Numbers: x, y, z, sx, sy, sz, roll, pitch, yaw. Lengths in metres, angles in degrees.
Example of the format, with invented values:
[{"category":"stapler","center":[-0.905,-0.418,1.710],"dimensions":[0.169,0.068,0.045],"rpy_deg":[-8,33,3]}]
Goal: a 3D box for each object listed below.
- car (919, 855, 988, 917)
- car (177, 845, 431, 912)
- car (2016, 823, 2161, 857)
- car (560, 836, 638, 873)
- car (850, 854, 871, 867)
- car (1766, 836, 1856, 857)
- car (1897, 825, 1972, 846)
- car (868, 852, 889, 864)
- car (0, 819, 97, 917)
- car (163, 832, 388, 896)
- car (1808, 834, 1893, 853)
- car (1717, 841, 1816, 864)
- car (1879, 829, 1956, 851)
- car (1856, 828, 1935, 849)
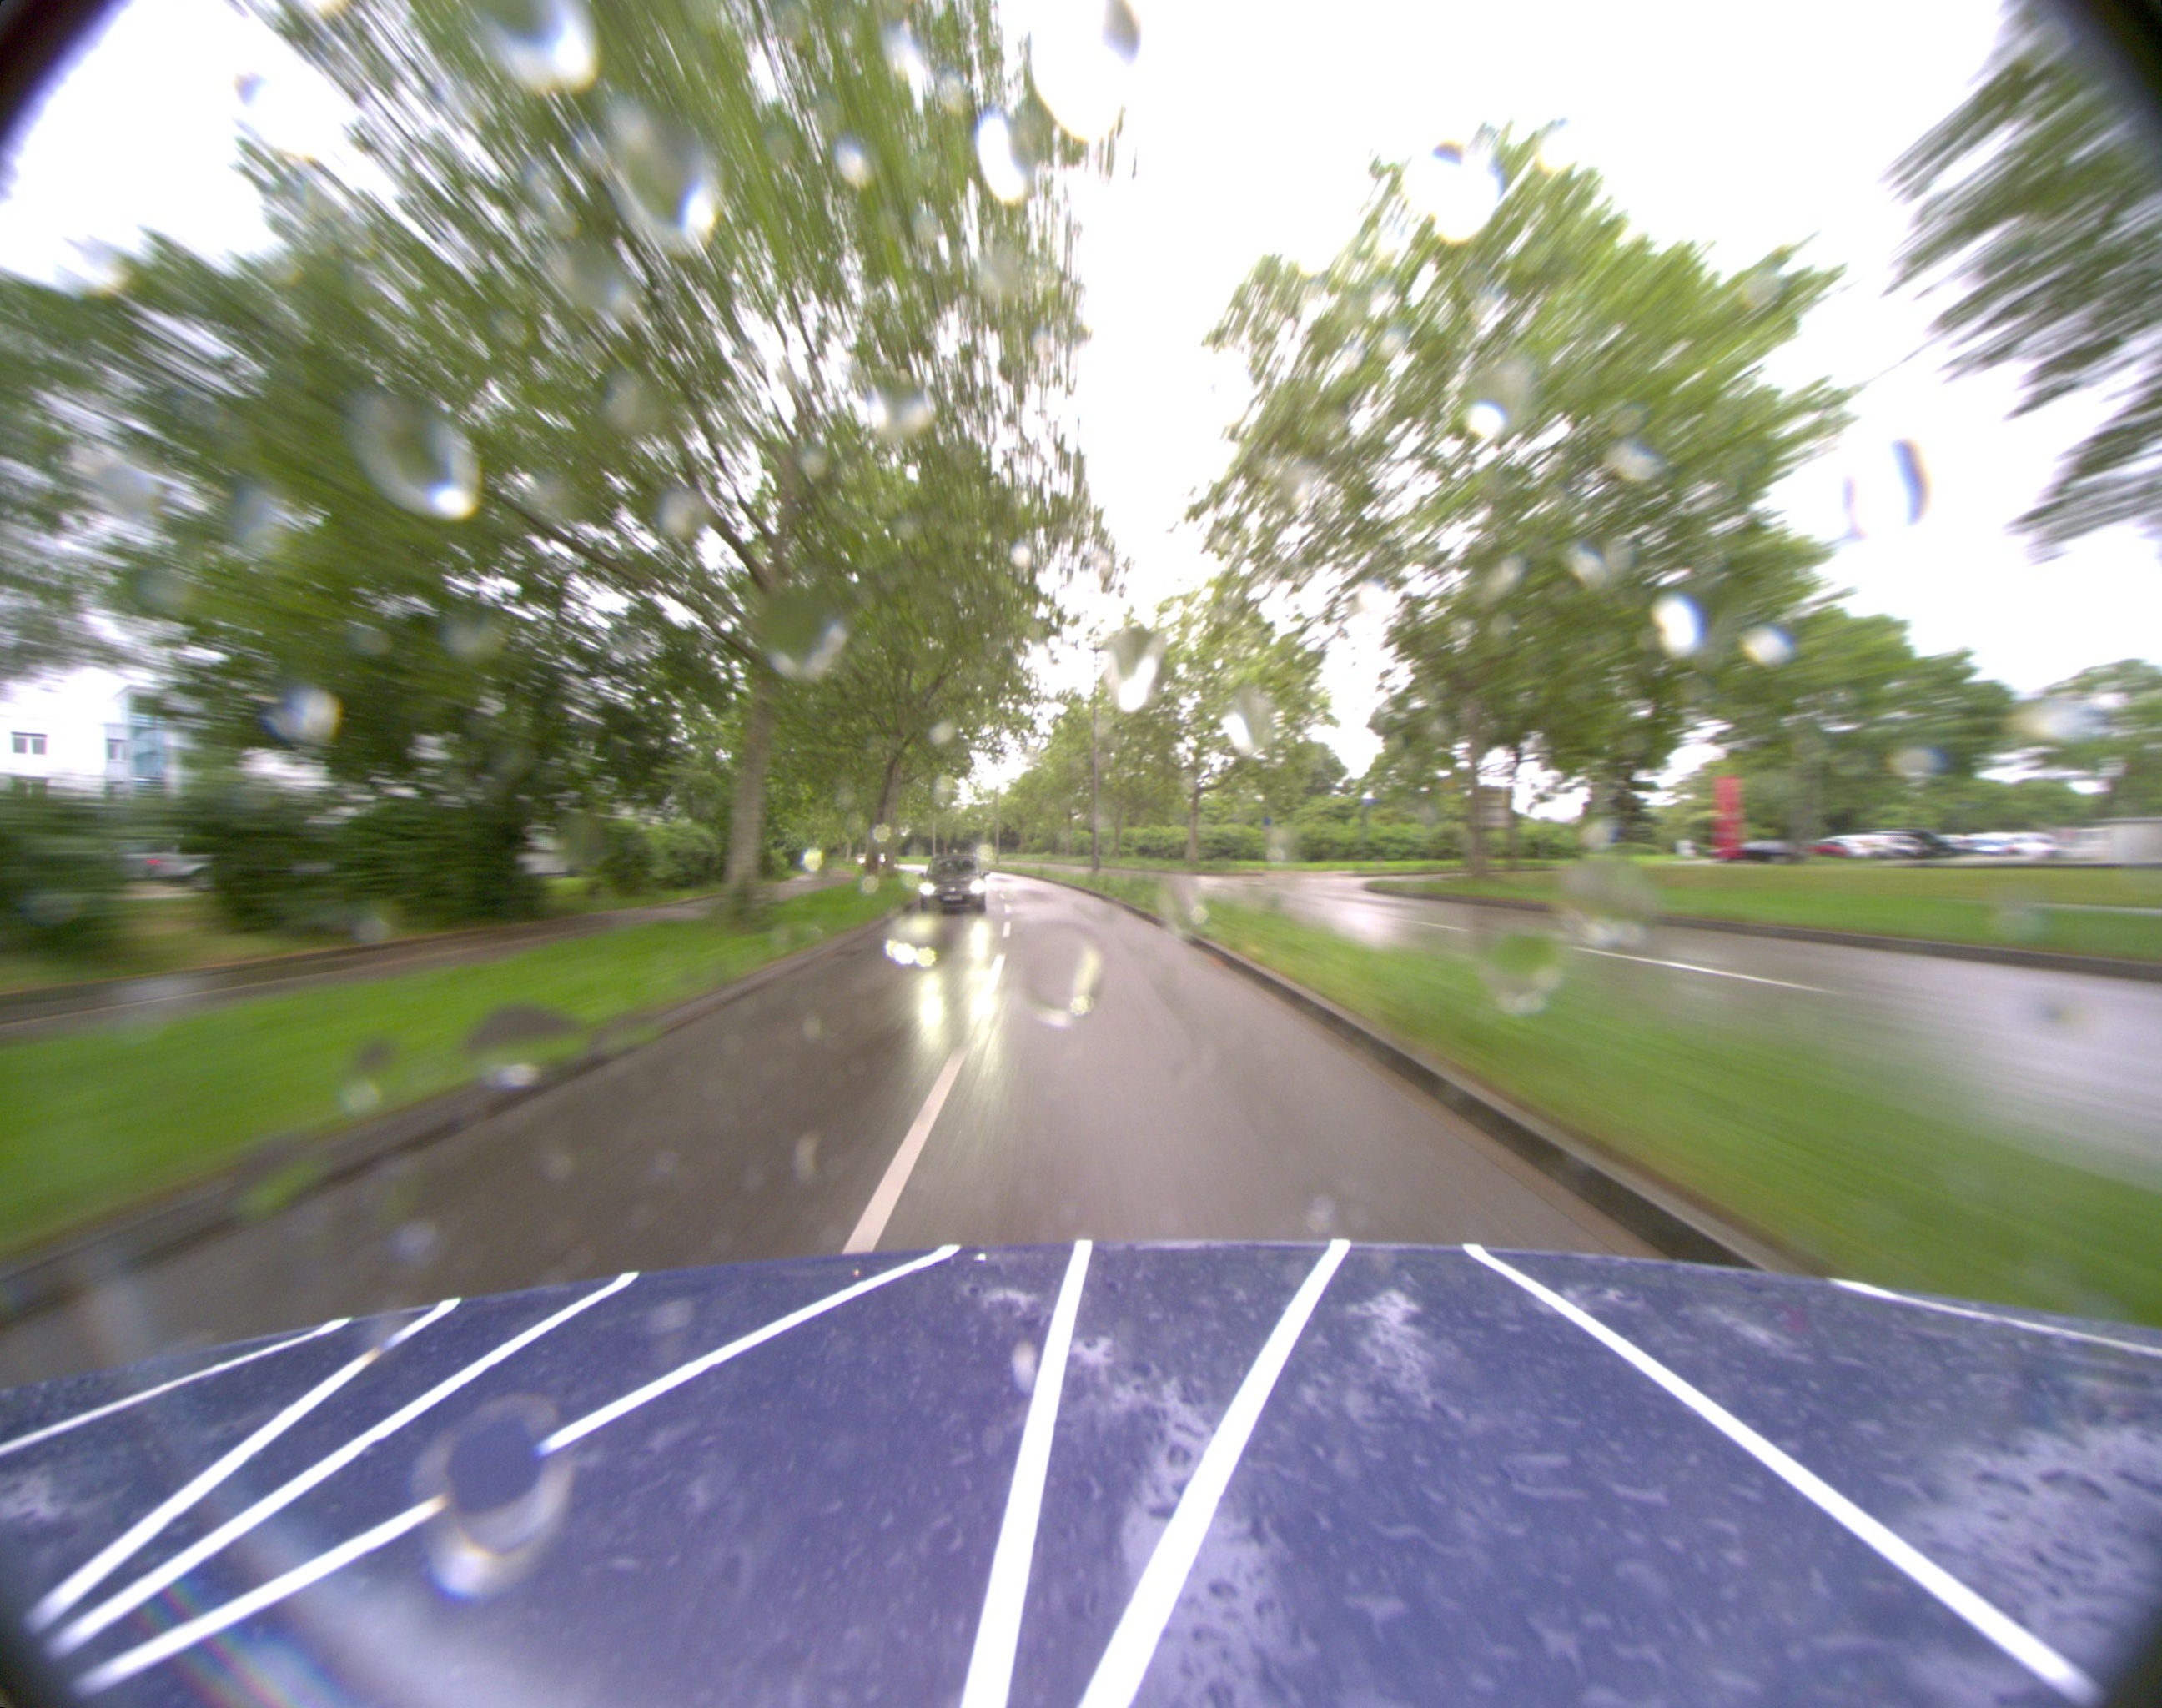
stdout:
[{"category":"car","center":[-3.695,0.866,22.546],"dimensions":[1.785,1.546,3.997],"rpy_deg":[-3,1,-7]},{"category":"car","center":[-19.624,0.614,19.421],"dimensions":[4.159,1.473,1.766],"rpy_deg":[-2,-1,-17]},{"category":"car","center":[58.379,-0.777,43.930],"dimensions":[1.796,1.853,5.218],"rpy_deg":[-2,1,-31]},{"category":"car","center":[-23.297,0.072,36.922],"dimensions":[1.769,1.572,4.154],"rpy_deg":[-2,-2,-11]},{"category":"car","center":[-27.469,0.788,94.602],"dimensions":[1.787,1.546,3.992],"rpy_deg":[-1,0,-25]},{"category":"car","center":[50.338,-0.486,52.456],"dimensions":[1.600,1.350,4.195],"rpy_deg":[-2,1,-29]},{"category":"car","center":[75.810,-1.616,67.534],"dimensions":[1.600,1.735,4.195],"rpy_deg":[-2,1,-29]},{"category":"car","center":[-26.166,0.552,98.052],"dimensions":[1.787,1.546,3.991],"rpy_deg":[-1,0,-26]},{"category":"car","center":[-18.239,0.302,11.660],"dimensions":[4.153,1.473,1.769],"rpy_deg":[-2,-1,3]},{"category":"car","center":[-25.664,0.280,24.472],"dimensions":[4.606,1.820,1.764],"rpy_deg":[-2,0,-31]},{"category":"car","center":[57.077,-0.767,56.445],"dimensions":[1.600,1.350,4.195],"rpy_deg":[-2,1,-29]},{"category":"car","center":[42.415,-0.090,47.135],"dimensions":[1.600,1.350,4.282],"rpy_deg":[-2,1,-29]},{"category":"car","center":[71.841,-1.183,65.341],"dimensions":[1.600,1.735,4.195],"rpy_deg":[-2,1,-29]},{"category":"car","center":[67.206,-1.292,62.741],"dimensions":[1.600,1.618,4.195],"rpy_deg":[-2,1,-29]}]
